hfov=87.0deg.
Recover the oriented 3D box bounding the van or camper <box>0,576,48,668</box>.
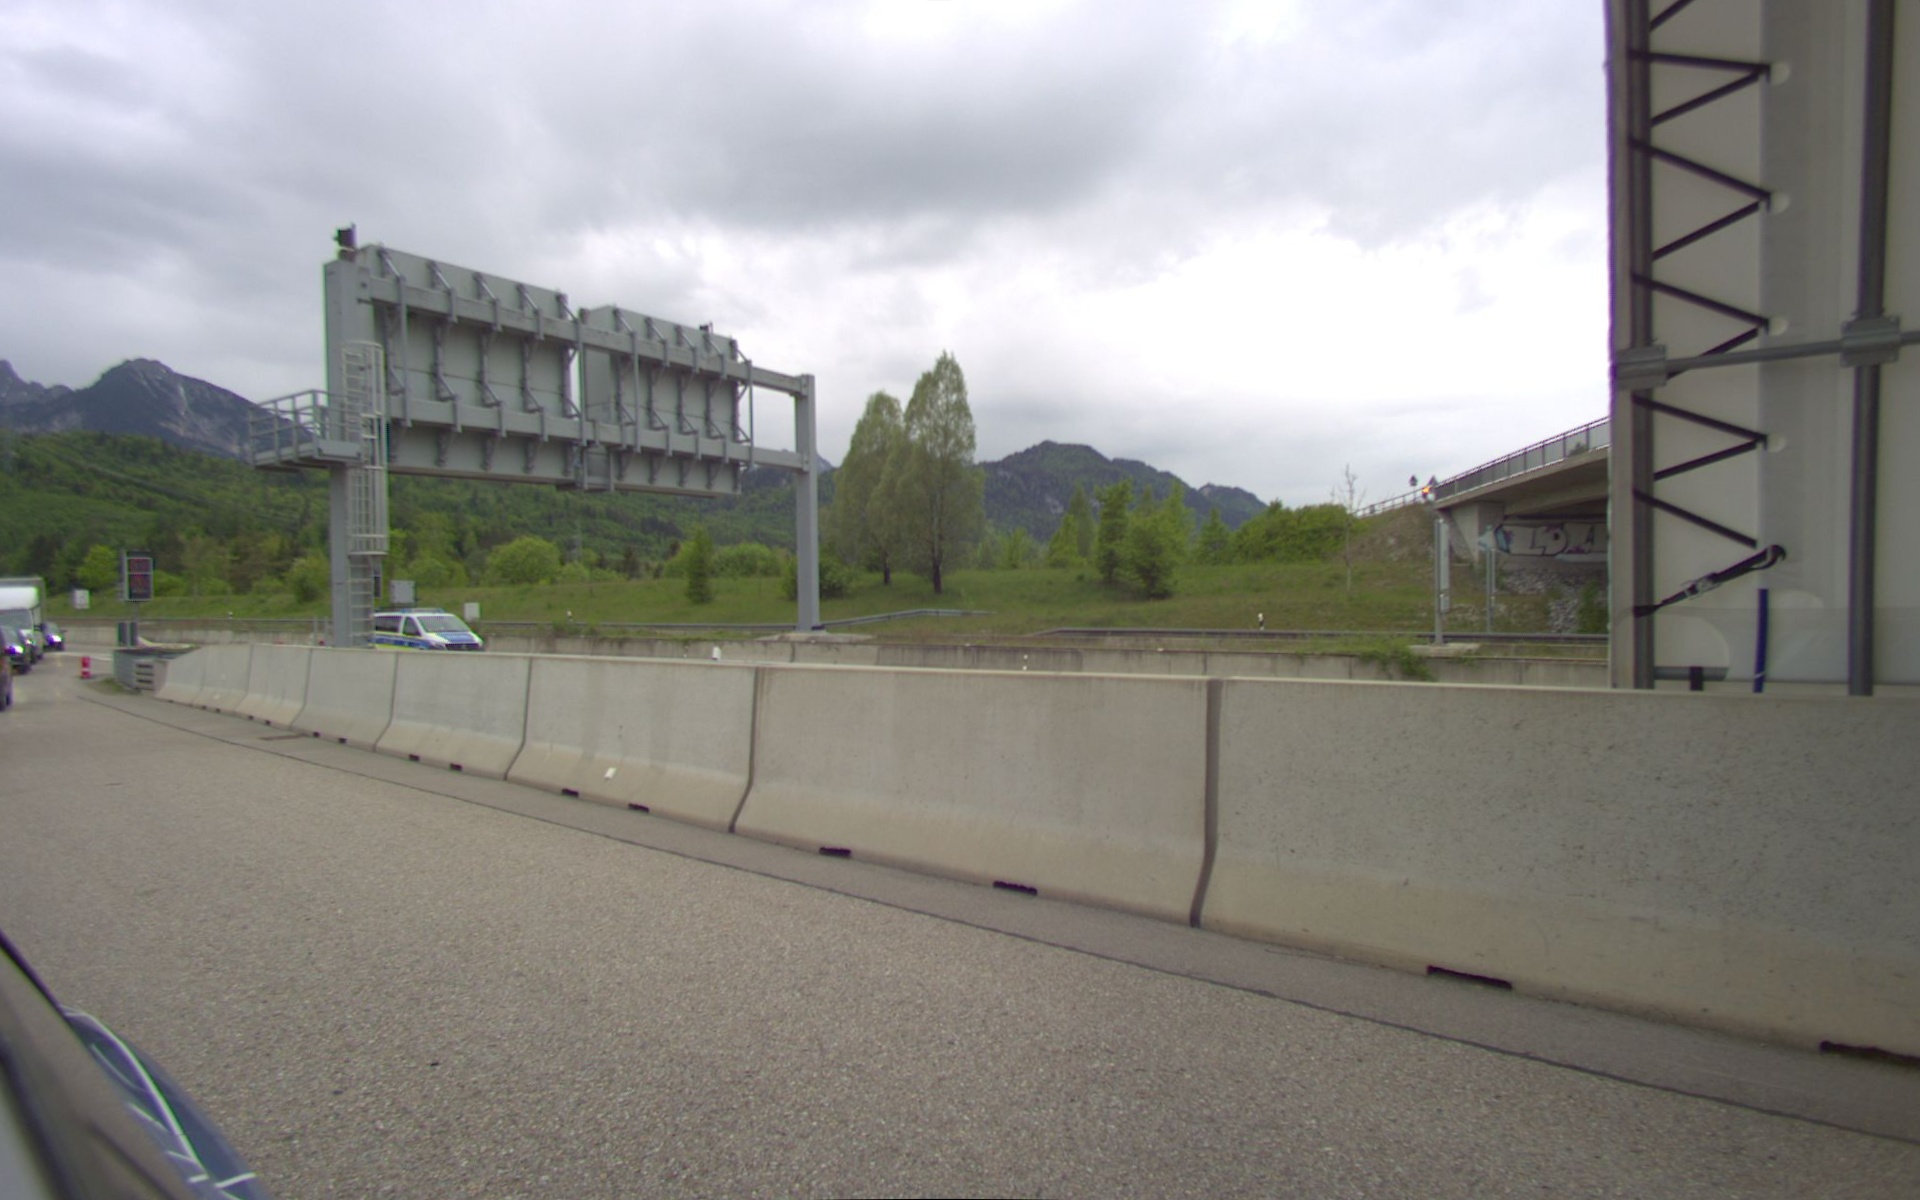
[{"bbox_3d":[-38.308,0.879,40.454,2.544,3.417,7.366,1,-2,-41],"label":"van or camper"}]

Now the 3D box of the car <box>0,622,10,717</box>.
[{"bbox_3d":[-18.756,1.283,18.736,1.568,1.684,4.005,1,-2,-42],"label":"car"}]

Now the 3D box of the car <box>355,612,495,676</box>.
[{"bbox_3d":[-18.099,1.434,34.165,5.039,2.029,2.080,-1,-1,35],"label":"car"}]

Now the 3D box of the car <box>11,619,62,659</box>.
[{"bbox_3d":[-45.120,1.880,49.437,1.717,1.778,4.003,-3,1,-44],"label":"car"}]
